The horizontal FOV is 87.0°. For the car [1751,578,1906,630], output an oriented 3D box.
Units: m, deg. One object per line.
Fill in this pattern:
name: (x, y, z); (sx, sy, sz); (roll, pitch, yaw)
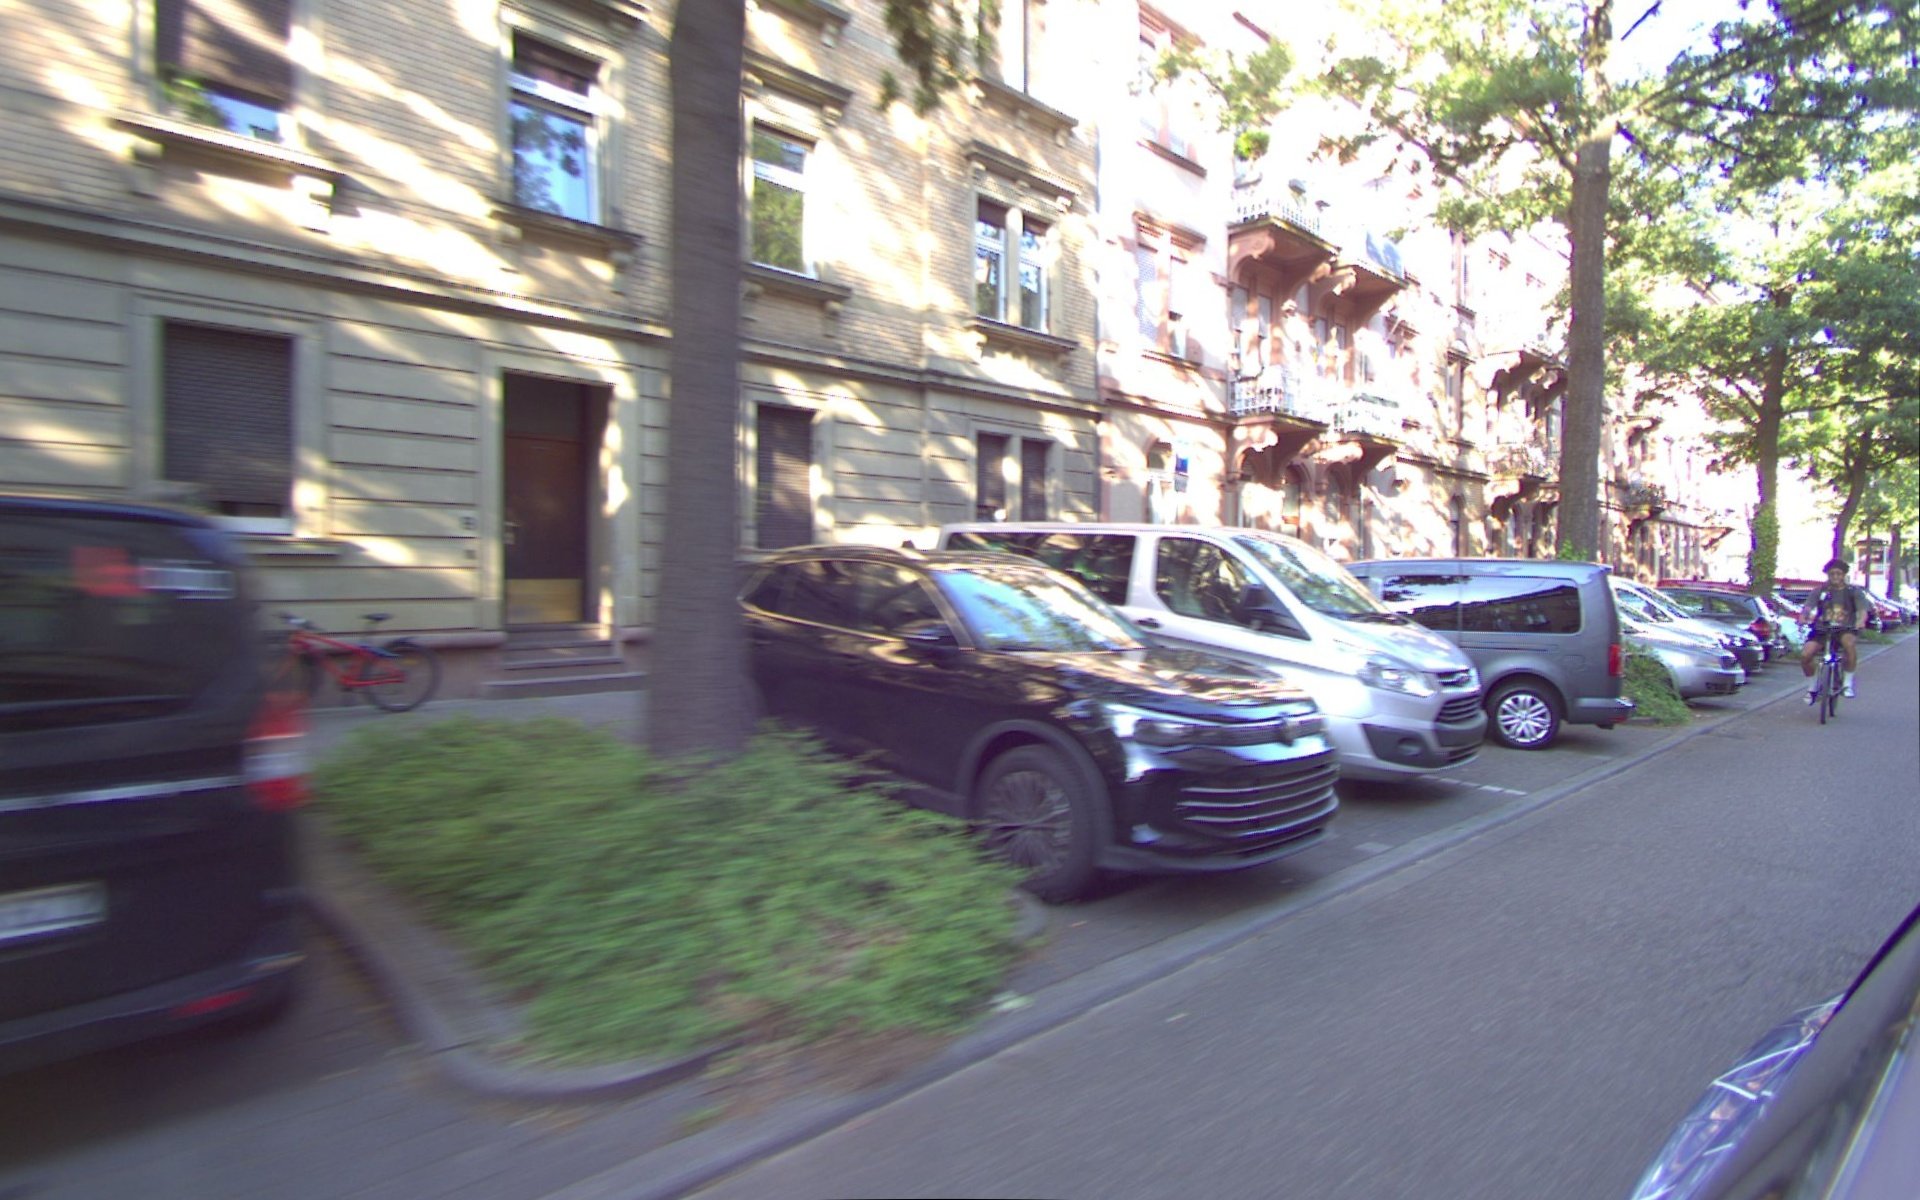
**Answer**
car: (31.806, 0.108, 37.140); (1.751, 1.472, 4.056); (0, 6, -42)

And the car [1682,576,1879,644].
car: (23.243, 0.217, 28.779); (1.750, 1.599, 4.056); (0, 4, -41)

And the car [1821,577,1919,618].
car: (42.835, -0.106, 47.009); (1.751, 1.548, 4.056); (0, 6, -42)

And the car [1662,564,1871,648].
car: (21.518, 0.083, 27.126); (1.750, 1.909, 4.056); (0, 4, -41)

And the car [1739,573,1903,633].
car: (29.965, 0.043, 35.314); (1.750, 1.640, 4.056); (0, 6, -42)

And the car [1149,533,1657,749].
car: (4.587, 0.295, 11.025); (4.631, 1.914, 1.891); (2, 1, 26)

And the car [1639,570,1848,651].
car: (19.690, 0.206, 25.555); (1.708, 1.703, 3.843); (0, 4, -41)

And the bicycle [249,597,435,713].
bicycle: (-5.627, 0.467, 9.269); (1.430, 0.979, 0.283); (0, 1, -43)

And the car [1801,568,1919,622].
car: (39.169, -0.255, 43.683); (1.751, 1.956, 4.056); (0, 6, -42)

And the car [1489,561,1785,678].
car: (12.288, 0.307, 18.593); (1.752, 1.910, 4.237); (0, 0, -42)

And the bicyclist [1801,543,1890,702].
bicyclist: (11.101, 0.253, 12.677); (1.102, 1.899, 0.711); (0, 1, -43)

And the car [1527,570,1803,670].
car: (14.017, 0.305, 20.305); (1.710, 1.607, 4.237); (0, 4, -44)

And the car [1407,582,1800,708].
car: (9.168, 0.518, 14.748); (1.870, 1.384, 4.467); (0, 3, -41)

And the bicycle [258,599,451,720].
bicycle: (-5.358, 0.493, 9.008); (1.430, 0.979, 0.396); (0, 1, -43)

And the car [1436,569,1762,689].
car: (10.444, 0.365, 16.765); (4.234, 1.623, 1.872); (4, 3, 45)

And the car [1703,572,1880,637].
car: (26.488, 0.079, 32.324); (1.750, 1.640, 4.056); (0, 6, -42)

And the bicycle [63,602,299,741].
bicycle: (-6.019, 0.513, 7.865); (1.430, 0.979, 0.396); (0, 1, -43)

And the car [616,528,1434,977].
car: (0.002, 0.458, 6.321); (4.922, 1.652, 2.046); (5, 4, 44)

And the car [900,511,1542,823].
car: (1.954, 0.261, 8.753); (4.922, 1.924, 2.142); (5, 4, 44)

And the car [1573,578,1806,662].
car: (15.823, 0.356, 22.074); (1.710, 1.478, 3.839); (0, 4, -44)

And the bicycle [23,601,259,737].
bicycle: (-6.464, 0.505, 8.042); (1.430, 0.979, 0.396); (0, 1, -43)

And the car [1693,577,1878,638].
car: (24.934, 0.180, 30.687); (1.750, 1.499, 4.056); (0, 4, -41)

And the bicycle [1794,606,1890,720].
bicycle: (11.050, 0.739, 12.661); (1.856, 1.275, 0.711); (-1, 2, -44)

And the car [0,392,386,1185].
car: (-3.664, 0.397, 3.759); (1.911, 1.811, 4.132); (0, 1, -41)

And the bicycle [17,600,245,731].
bicycle: (-6.741, 0.497, 8.287); (1.430, 0.979, 0.283); (0, 1, -43)

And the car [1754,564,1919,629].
car: (33.747, -0.195, 38.921); (1.893, 2.000, 4.698); (0, 6, -42)
